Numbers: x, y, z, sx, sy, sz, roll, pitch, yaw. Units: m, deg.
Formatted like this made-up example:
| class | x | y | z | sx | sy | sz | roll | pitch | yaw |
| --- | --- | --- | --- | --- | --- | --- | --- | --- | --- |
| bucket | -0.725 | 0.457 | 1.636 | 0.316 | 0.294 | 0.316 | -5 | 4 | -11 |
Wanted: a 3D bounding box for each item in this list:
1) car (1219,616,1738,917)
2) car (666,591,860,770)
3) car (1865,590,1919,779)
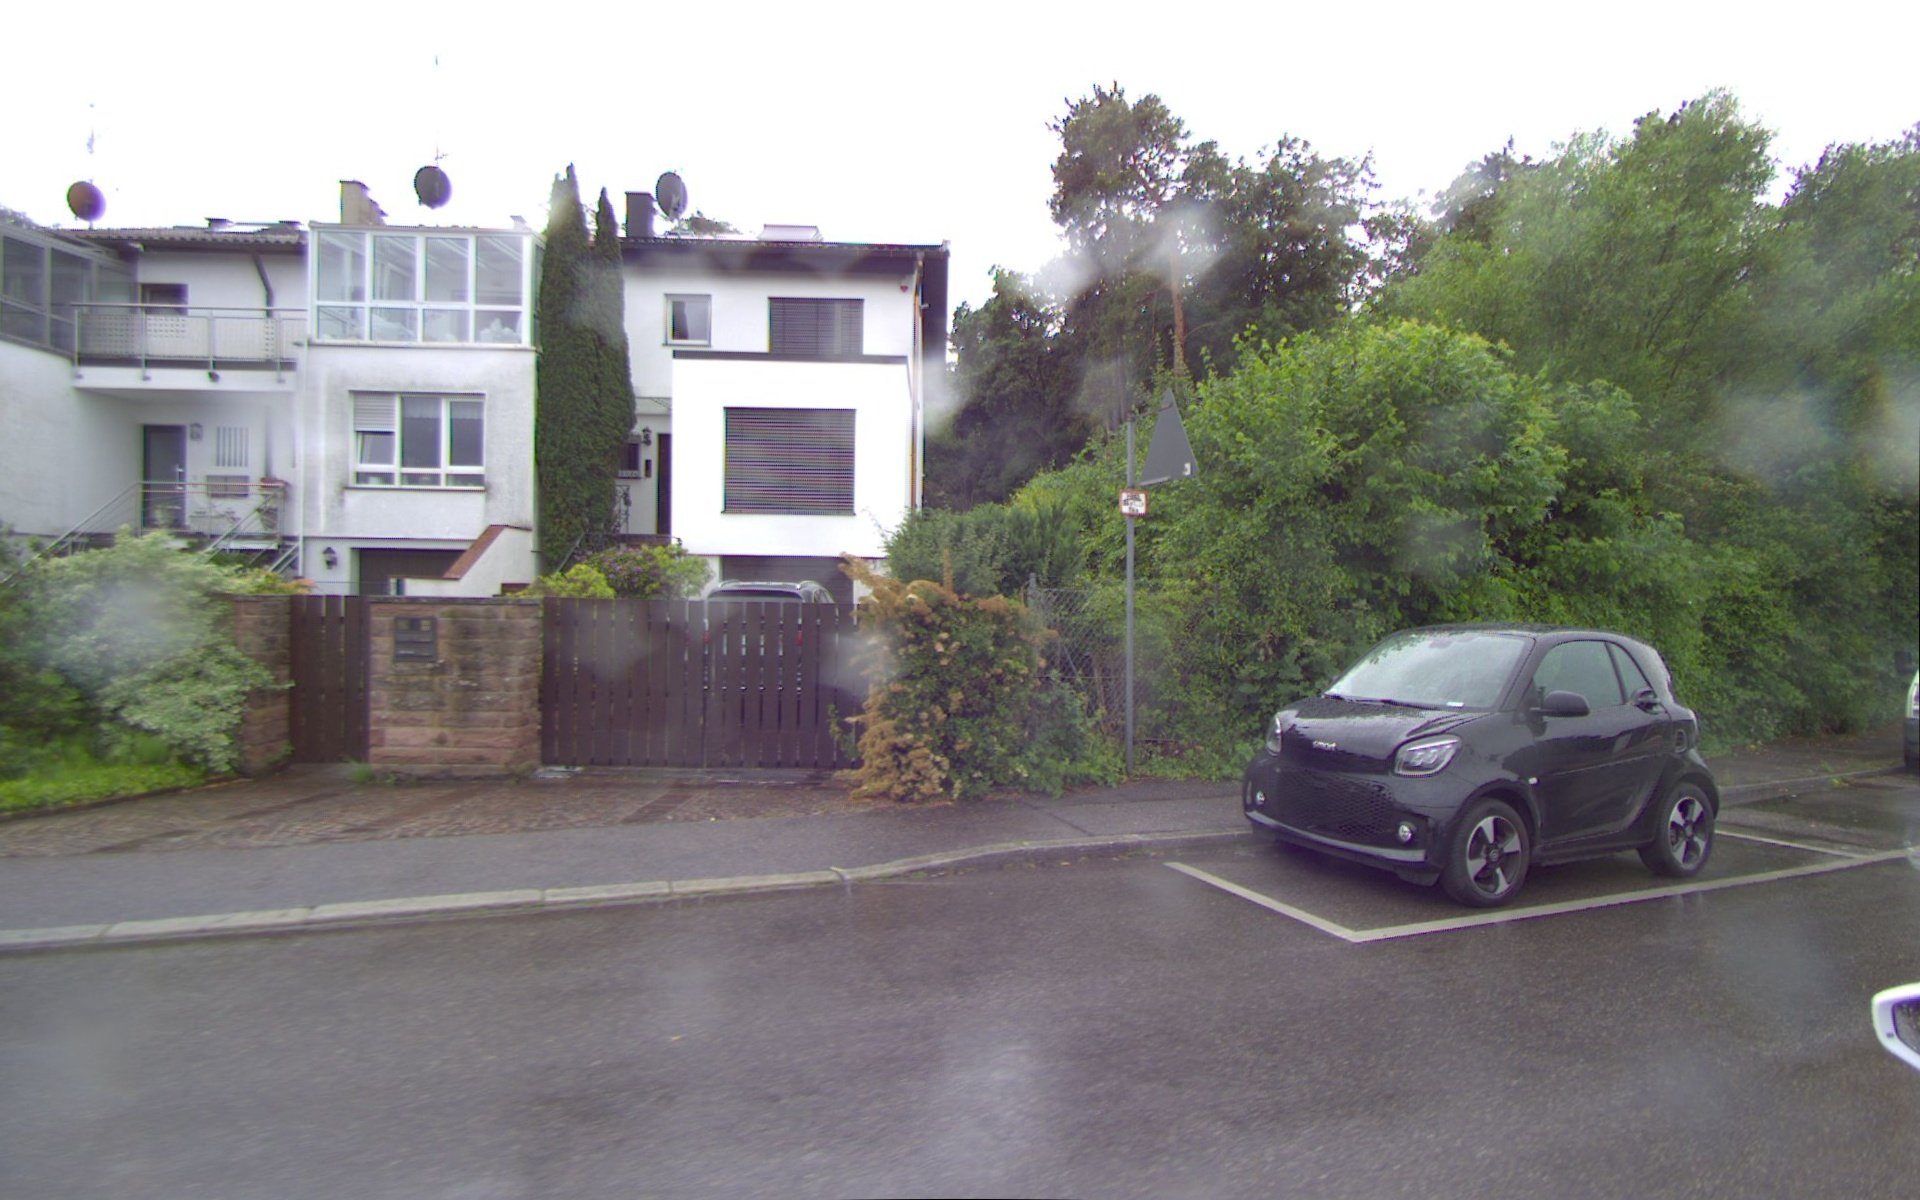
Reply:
| class | x | y | z | sx | sy | sz | roll | pitch | yaw |
| --- | --- | --- | --- | --- | --- | --- | --- | --- | --- |
| car | 3.345 | 0.902 | 6.500 | 2.904 | 1.531 | 1.596 | 2 | -1 | -27 |
| car | -2.371 | 0.892 | 12.984 | 1.705 | 1.975 | 3.684 | 0 | 0 | 1 |
| car | 12.679 | 0.969 | 11.595 | 5.118 | 2.000 | 2.099 | 2 | -2 | -33 |
